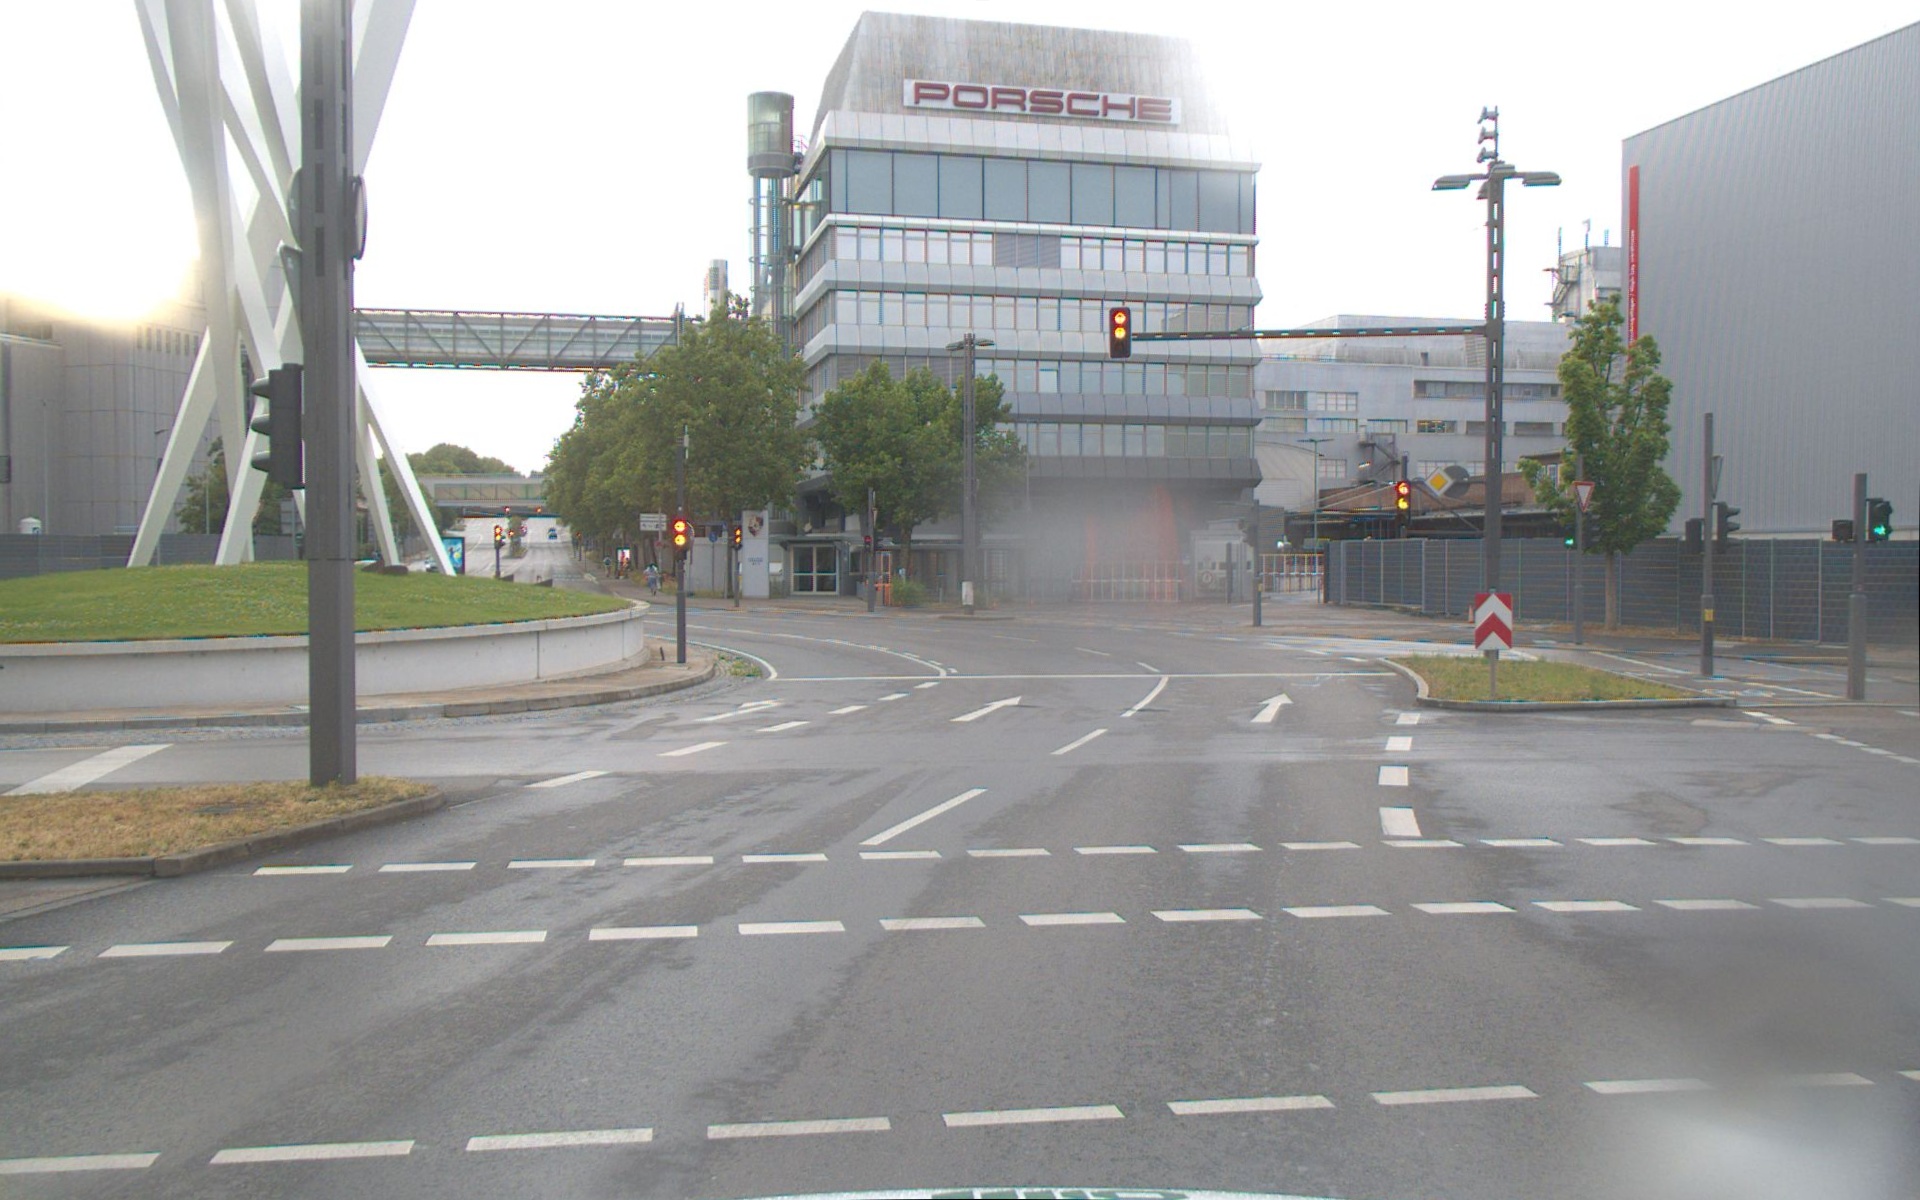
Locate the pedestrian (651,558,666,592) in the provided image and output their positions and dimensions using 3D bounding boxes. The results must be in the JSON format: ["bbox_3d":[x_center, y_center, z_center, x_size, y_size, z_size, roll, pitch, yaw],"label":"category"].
[{"bbox_3d":[-14.774,-1.221,81.107,0.696,1.619,0.839,-1,2,-10],"label":"pedestrian"}]

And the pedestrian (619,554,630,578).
[{"bbox_3d":[-26.246,-2.656,129.403,0.744,1.770,0.712,1,-1,-10],"label":"pedestrian"}]

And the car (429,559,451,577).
[{"bbox_3d":[-44.728,-2.734,142.123,1.755,1.465,4.374,-1,2,-18],"label":"car"}]

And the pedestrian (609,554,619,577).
[{"bbox_3d":[-26.826,-2.656,128.068,0.699,1.770,0.757,1,-1,-14],"label":"pedestrian"}]

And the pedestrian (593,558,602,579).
[{"bbox_3d":[-36.061,-3.137,164.556,0.749,2.049,0.692,0,0,3],"label":"pedestrian"}]

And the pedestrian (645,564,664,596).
[{"bbox_3d":[-14.723,-0.961,79.694,0.815,1.547,0.841,0,2,-6],"label":"pedestrian"}]
